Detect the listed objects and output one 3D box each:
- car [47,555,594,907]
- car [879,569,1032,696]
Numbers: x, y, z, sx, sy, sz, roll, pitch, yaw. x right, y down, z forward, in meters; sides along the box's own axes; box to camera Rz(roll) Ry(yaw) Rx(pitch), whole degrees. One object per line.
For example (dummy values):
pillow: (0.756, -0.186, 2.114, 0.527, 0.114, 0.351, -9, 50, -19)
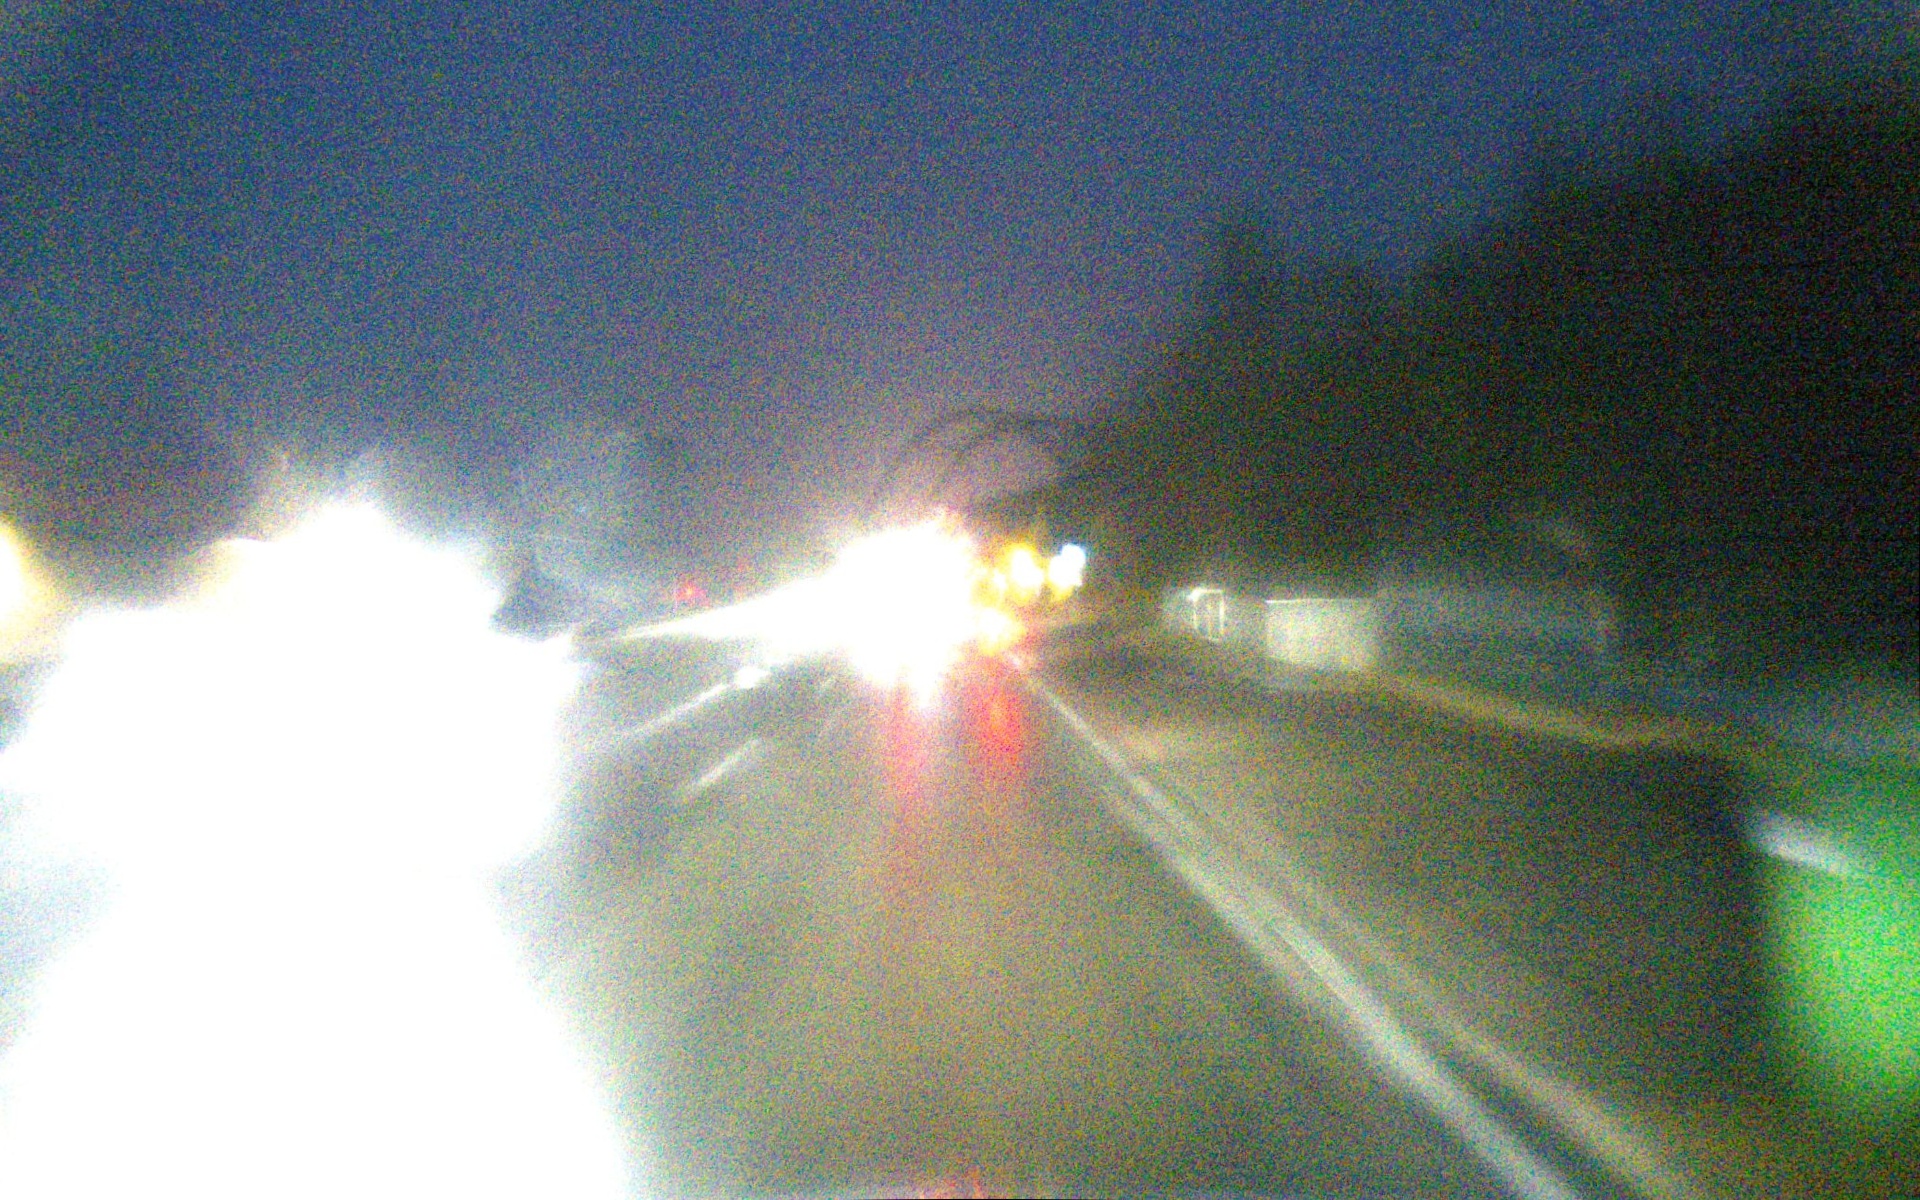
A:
car: (-3.734, 0.638, 10.597, 1.817, 1.712, 4.324, -3, 1, -1)
car: (-0.184, 0.572, 28.979, 2.409, 1.993, 4.908, -1, -1, -3)
